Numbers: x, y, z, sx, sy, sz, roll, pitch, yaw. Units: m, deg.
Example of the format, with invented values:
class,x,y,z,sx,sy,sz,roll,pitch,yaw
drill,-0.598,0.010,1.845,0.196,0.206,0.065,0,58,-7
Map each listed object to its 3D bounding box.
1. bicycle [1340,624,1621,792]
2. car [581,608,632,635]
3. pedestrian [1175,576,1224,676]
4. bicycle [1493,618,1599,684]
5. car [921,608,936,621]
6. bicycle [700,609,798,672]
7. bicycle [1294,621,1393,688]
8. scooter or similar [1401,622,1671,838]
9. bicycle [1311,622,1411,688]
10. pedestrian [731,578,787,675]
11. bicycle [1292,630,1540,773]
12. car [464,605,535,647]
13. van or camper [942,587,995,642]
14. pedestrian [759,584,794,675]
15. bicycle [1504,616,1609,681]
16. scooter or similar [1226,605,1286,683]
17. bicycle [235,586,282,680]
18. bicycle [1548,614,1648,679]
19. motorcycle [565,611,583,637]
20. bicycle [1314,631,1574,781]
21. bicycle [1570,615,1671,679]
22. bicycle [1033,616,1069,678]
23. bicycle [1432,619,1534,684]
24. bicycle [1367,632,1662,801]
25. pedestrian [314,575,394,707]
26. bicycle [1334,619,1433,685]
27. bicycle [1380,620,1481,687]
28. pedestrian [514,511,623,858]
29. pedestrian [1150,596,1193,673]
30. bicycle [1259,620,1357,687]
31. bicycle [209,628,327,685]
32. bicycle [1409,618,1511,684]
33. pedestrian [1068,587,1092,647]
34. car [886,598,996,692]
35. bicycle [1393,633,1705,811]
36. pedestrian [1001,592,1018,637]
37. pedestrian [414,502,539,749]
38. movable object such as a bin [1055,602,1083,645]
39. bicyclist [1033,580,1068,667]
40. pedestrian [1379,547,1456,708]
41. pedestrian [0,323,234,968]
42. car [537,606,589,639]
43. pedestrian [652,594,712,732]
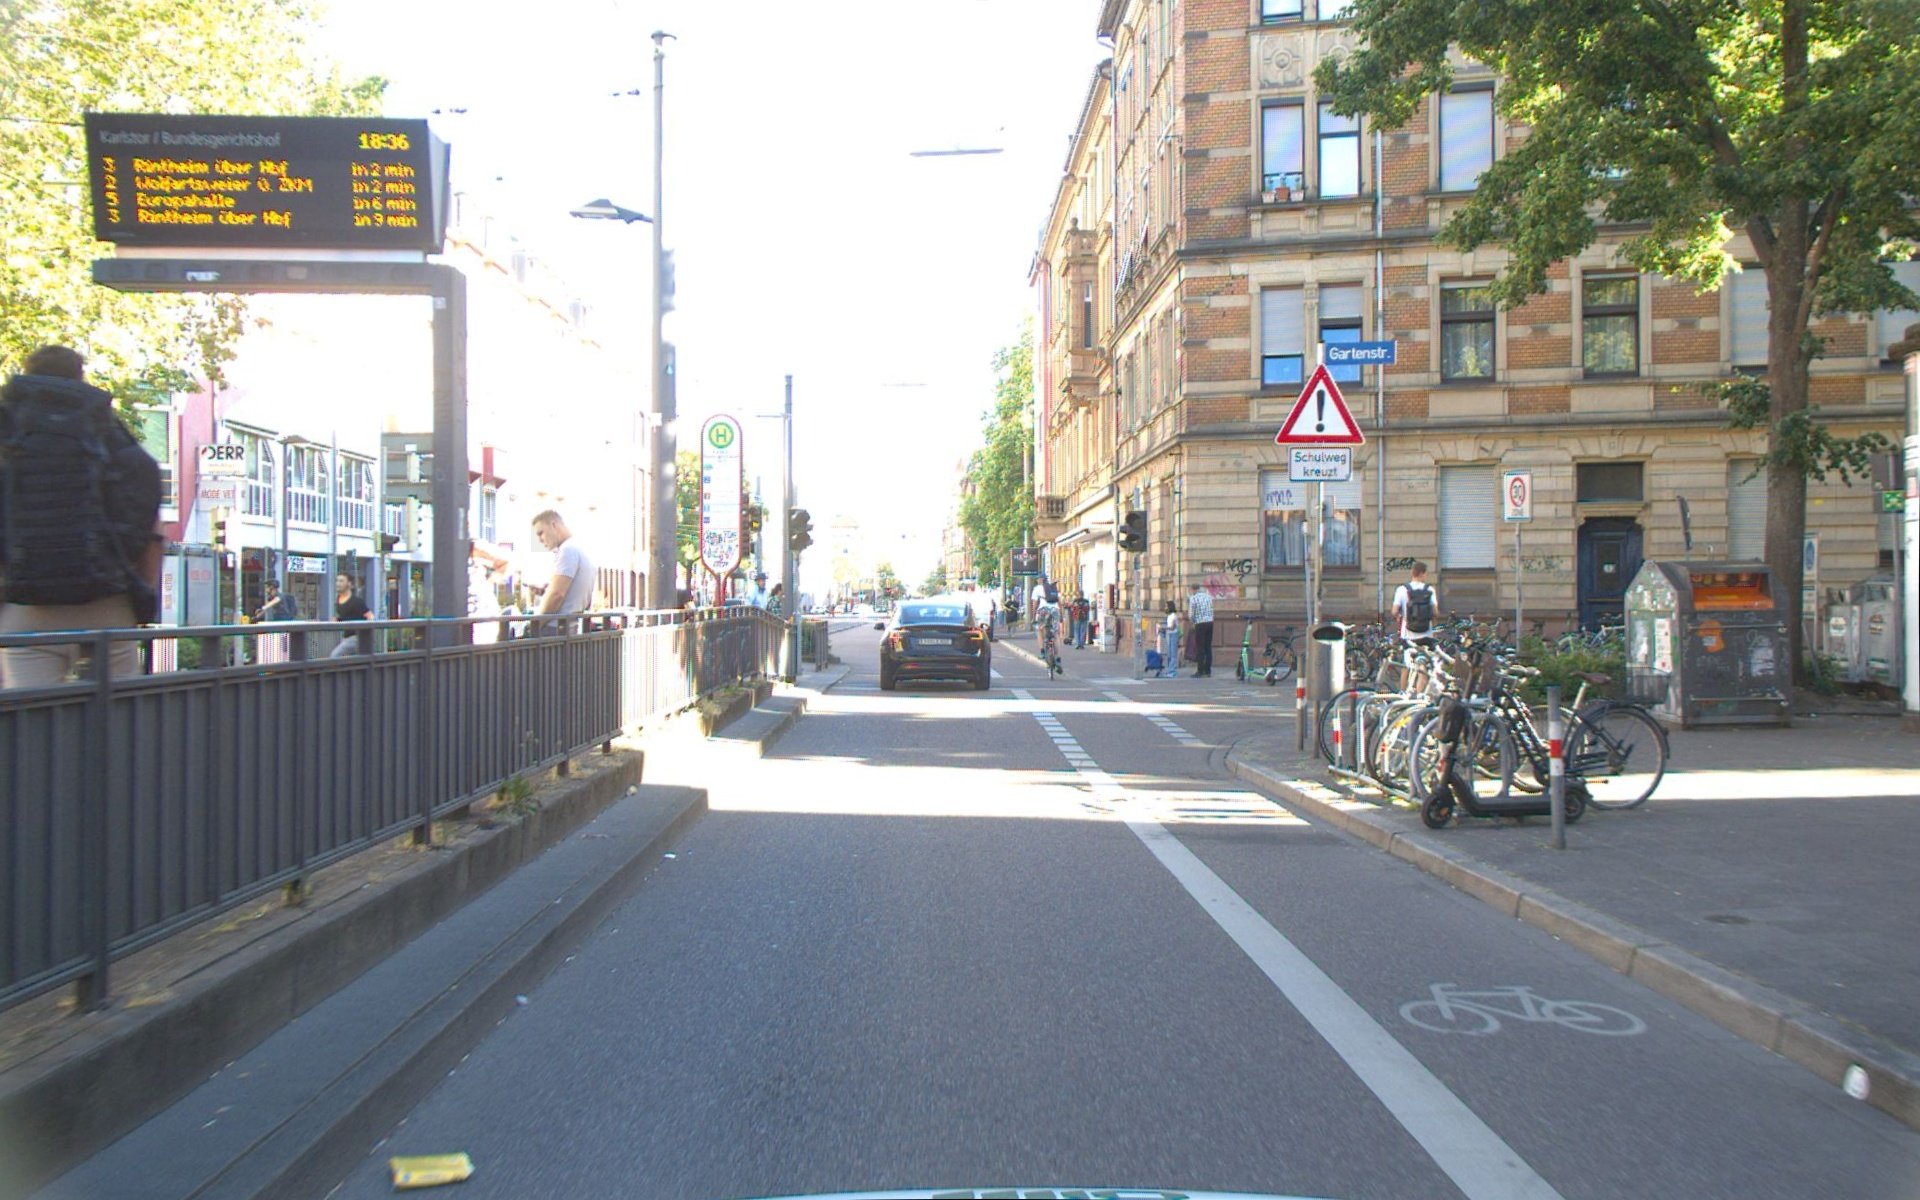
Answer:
class,x,y,z,sx,sy,sz,roll,pitch,yaw
bicycle,3.883,0.791,12.406,1.907,1.186,0.627,-1,0,-3
car,-19.205,1.150,89.985,1.921,1.348,4.818,1,0,-2
pedestrian,4.483,0.473,31.011,0.829,1.839,0.876,-1,1,3
bicycle,10.428,0.890,29.491,0.440,1.134,1.787,0,0,-42
car,-3.576,1.663,188.127,1.561,1.458,3.685,-1,-1,-1
bicycle,-4.134,0.793,32.363,1.904,1.113,0.597,3,-1,32
bicycle,6.744,0.947,29.163,0.440,1.134,1.787,0,0,-41
scooter or similar,3.624,0.800,10.475,1.449,1.250,0.591,-3,0,-1
bicycle,7.123,0.960,29.440,0.440,1.134,1.787,0,0,-42
pedestrian,-3.923,0.506,32.314,0.582,1.853,0.940,1,0,31
bicycle,3.789,0.833,13.812,1.907,1.126,0.564,-1,0,-3
car,-18.461,1.025,66.470,1.879,1.642,4.366,0,0,-4
van or camper,0.315,0.610,66.770,1.892,2.072,5.473,1,-1,-2
pedestrian,-3.355,0.531,30.200,0.508,1.618,0.665,3,-1,-11
bicycle,10.745,0.863,29.842,0.440,1.134,1.787,0,0,-42
scooter or similar,5.118,0.745,28.681,0.384,1.312,1.515,0,0,-17
bicycle,-13.175,0.617,31.075,0.635,1.746,0.581,0,0,38
bicycle,11.631,0.835,30.197,0.439,1.134,1.794,0,0,-33
motorcycle,-20.373,1.268,87.365,0.508,1.320,2.081,1,0,-2
bicycle,3.835,0.827,13.165,1.907,1.126,0.564,-1,0,-3
bicycle,12.119,0.844,30.391,0.439,1.134,1.794,0,0,-33
bicycle,1.770,0.895,32.354,0.634,1.159,2.096,1,0,2
bicycle,9.429,0.913,29.879,0.440,1.134,1.787,0,0,-42
bicycle,3.918,0.812,11.753,1.907,1.126,0.564,-1,0,-3
pedestrian,-7.969,0.524,21.801,0.682,1.697,1.033,0,0,-1
bicycle,7.578,0.910,29.652,0.440,1.134,1.787,0,0,-42
bicycle,8.374,0.936,29.499,0.440,1.134,1.787,0,0,-42
pedestrian,-2.516,0.523,10.691,0.527,2.157,0.807,0,0,-2
pedestrian,4.005,0.645,31.398,0.567,1.439,0.576,2,0,-25
bicycle,6.120,0.929,29.150,0.440,1.134,1.787,0,0,-41
bicycle,-12.973,1.045,31.078,0.633,0.983,2.167,0,0,27
bicycle,8.948,0.894,29.639,0.440,1.134,1.787,0,0,-42
pedestrian,3.565,0.507,49.049,0.461,1.759,0.586,-1,0,34
car,-0.369,0.701,27.696,1.685,1.430,3.708,1,0,-2
bicycle,3.946,0.803,11.140,1.907,1.126,0.564,-1,0,-3
pedestrian,2.055,0.606,68.238,0.659,1.846,0.755,0,-1,-2
pedestrian,-3.541,0.181,12.148,0.747,1.765,0.589,0,0,-2
movable object such as a bin,3.535,0.753,53.546,0.760,1.371,1.298,0,-1,-3
bicyclist,1.767,0.451,32.509,0.641,1.685,0.927,0,-1,1
pedestrian,5.903,0.348,21.306,0.920,2.019,0.718,0,-1,18
pedestrian,-2.793,0.138,5.235,0.762,1.863,0.795,2,-1,-32
car,-18.854,1.048,78.709,1.717,1.500,4.204,0,0,-4
pedestrian,-2.789,0.624,16.600,0.470,1.352,0.354,-1,0,28
